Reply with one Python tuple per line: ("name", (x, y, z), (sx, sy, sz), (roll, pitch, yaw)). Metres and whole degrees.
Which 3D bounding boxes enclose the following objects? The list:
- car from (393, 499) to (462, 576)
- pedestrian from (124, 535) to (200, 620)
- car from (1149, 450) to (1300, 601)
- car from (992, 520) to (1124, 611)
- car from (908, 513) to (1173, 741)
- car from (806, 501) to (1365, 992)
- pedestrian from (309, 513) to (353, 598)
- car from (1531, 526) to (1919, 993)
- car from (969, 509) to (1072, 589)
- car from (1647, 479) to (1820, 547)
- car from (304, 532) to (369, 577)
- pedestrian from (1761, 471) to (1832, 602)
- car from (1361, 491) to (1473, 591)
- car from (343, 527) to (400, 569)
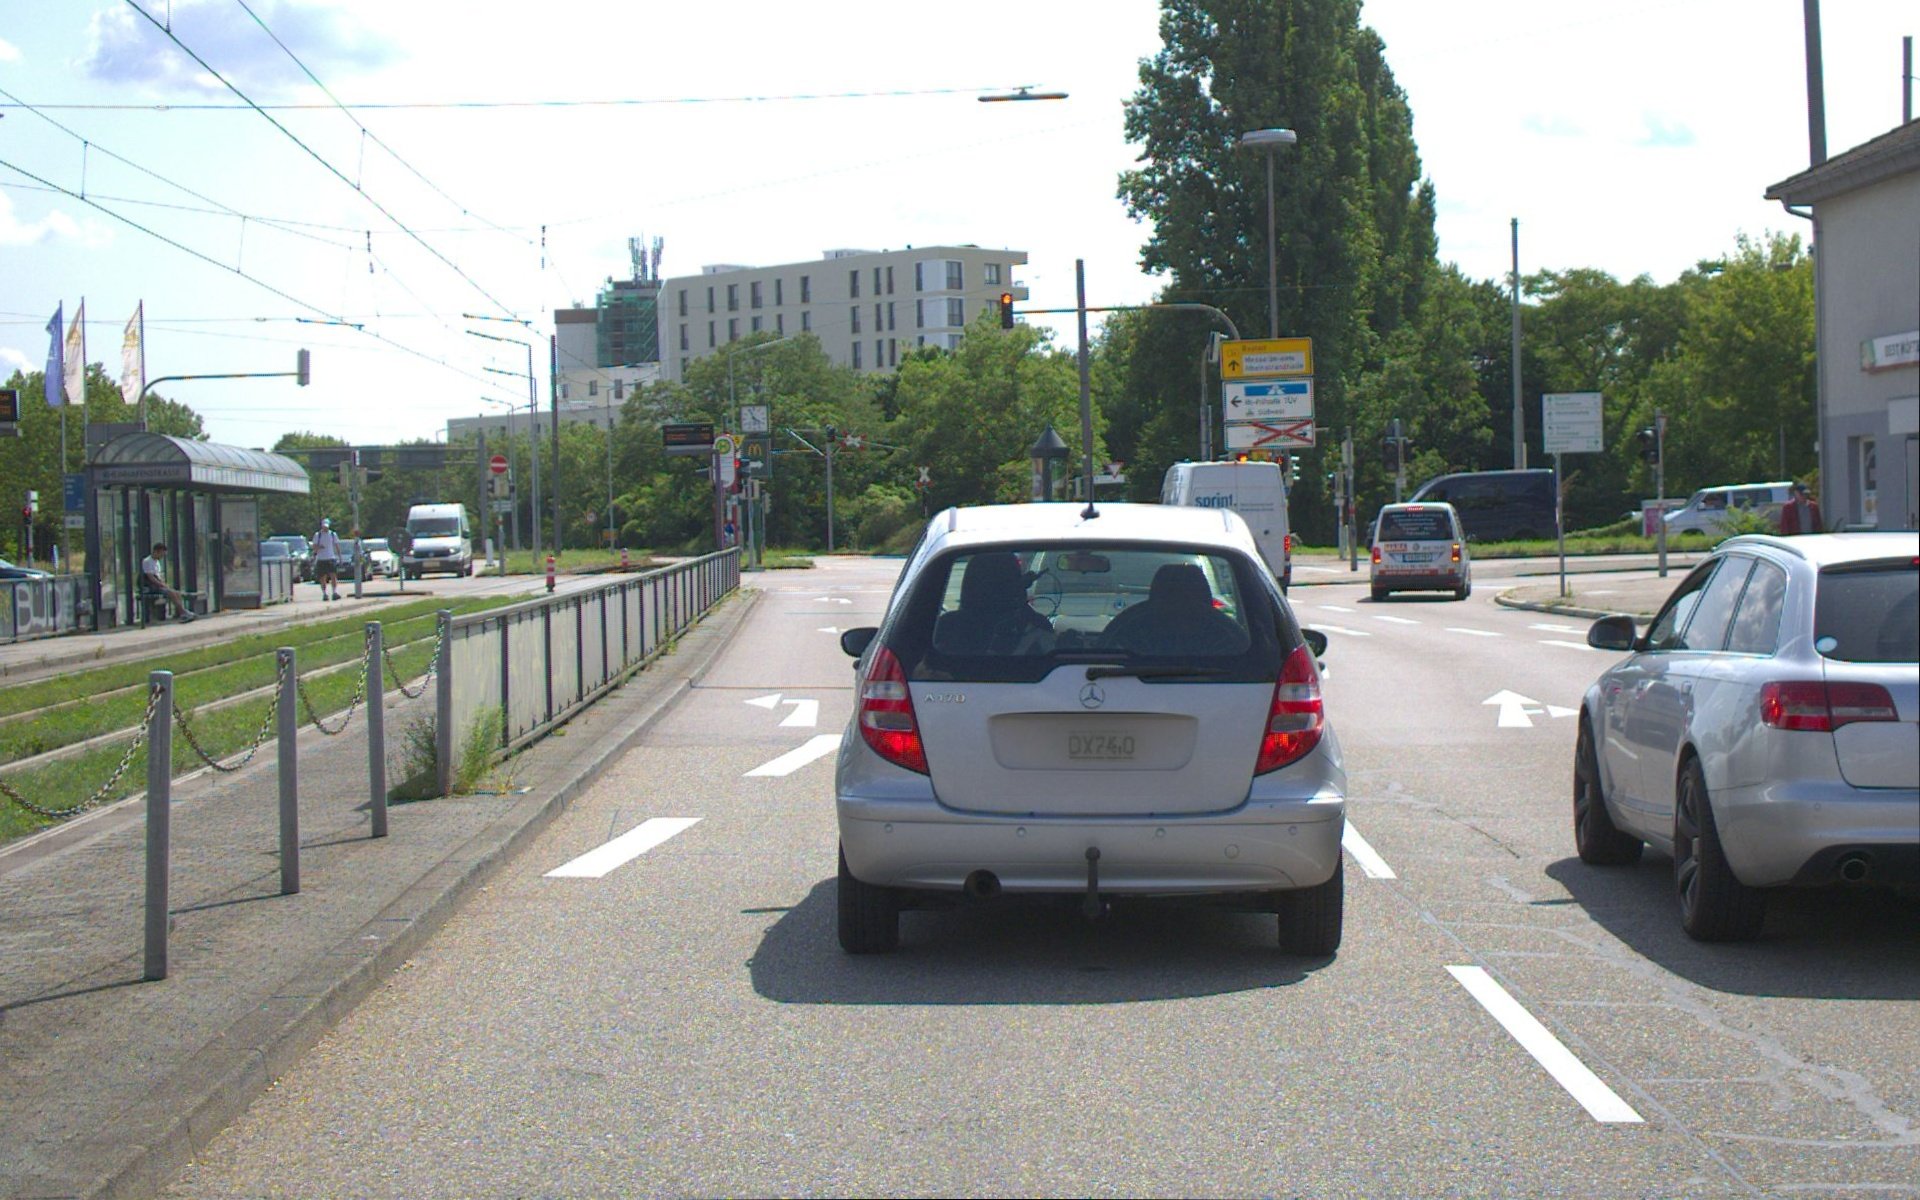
("car", (-18.391, -2.168, 118.852), (1.993, 2.597, 4.880), (0, 1, -4))
("pedestrian", (-13.108, -0.374, 56.471), (1.058, 1.371, 0.860), (0, 1, -2))
("car", (4.699, -1.353, 61.772), (2.041, 2.549, 5.232), (-1, 1, -3))
("car", (1.546, -0.585, 55.615), (1.869, 1.415, 4.100), (0, 1, -2))
("car", (0.578, 0.121, 25.025), (1.739, 1.487, 4.630), (-1, 1, 1))
("car", (0.512, 0.425, 13.216), (1.787, 1.571, 4.094), (-1, 2, 3))
("pedestrian", (-13.365, -0.952, 73.099), (0.807, 1.789, 0.709), (-1, 1, -4))
("car", (3.497, 0.475, 13.480), (1.854, 1.487, 4.536), (-1, 1, 1))
("car", (1.145, -1.016, 67.048), (1.744, 1.494, 4.380), (0, 1, -2))
("car", (22.689, -2.558, 100.983), (4.677, 1.929, 2.000), (-1, 1, 3))
("car", (-21.383, -1.566, 118.036), (1.896, 1.536, 3.730), (0, 1, -6))
("pedestrian", (11.775, -0.899, 48.430), (0.721, 1.776, 0.703), (-4, 1, 0))
("car", (8.525, -1.090, 63.920), (1.886, 1.725, 4.093), (-2, 0, 9))
("car", (-21.639, -1.918, 126.563), (1.802, 1.536, 4.165), (0, 1, -6))
